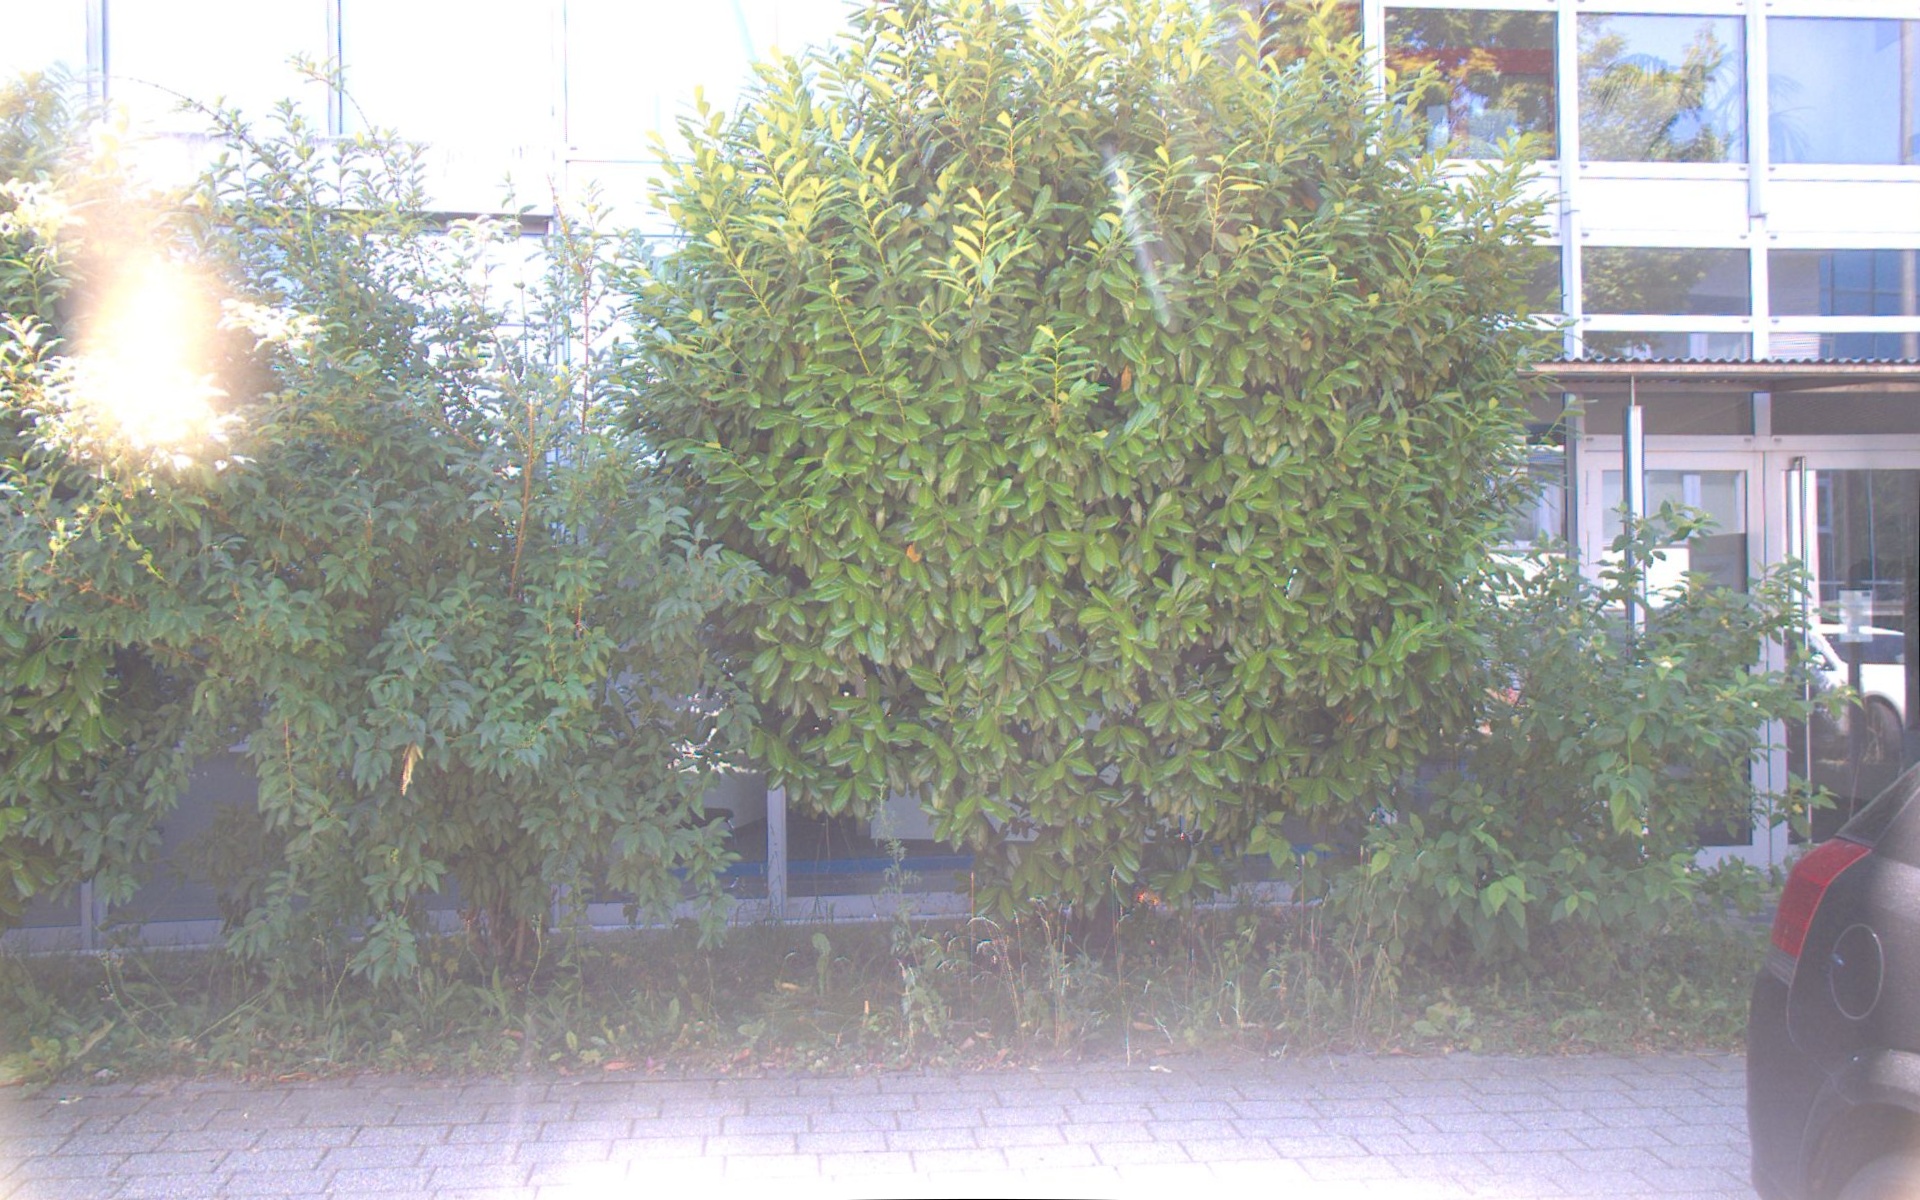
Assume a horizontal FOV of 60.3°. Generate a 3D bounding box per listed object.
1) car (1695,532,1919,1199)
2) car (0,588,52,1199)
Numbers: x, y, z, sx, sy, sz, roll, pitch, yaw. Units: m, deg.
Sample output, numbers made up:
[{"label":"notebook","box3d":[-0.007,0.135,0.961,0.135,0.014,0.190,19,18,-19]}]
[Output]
[{"label":"car","box3d":[2.508,0.683,1.124,1.723,1.576,4.561,0,0,-4]},{"label":"car","box3d":[-2.298,0.730,0.993,1.687,1.505,4.339,0,0,-9]}]
